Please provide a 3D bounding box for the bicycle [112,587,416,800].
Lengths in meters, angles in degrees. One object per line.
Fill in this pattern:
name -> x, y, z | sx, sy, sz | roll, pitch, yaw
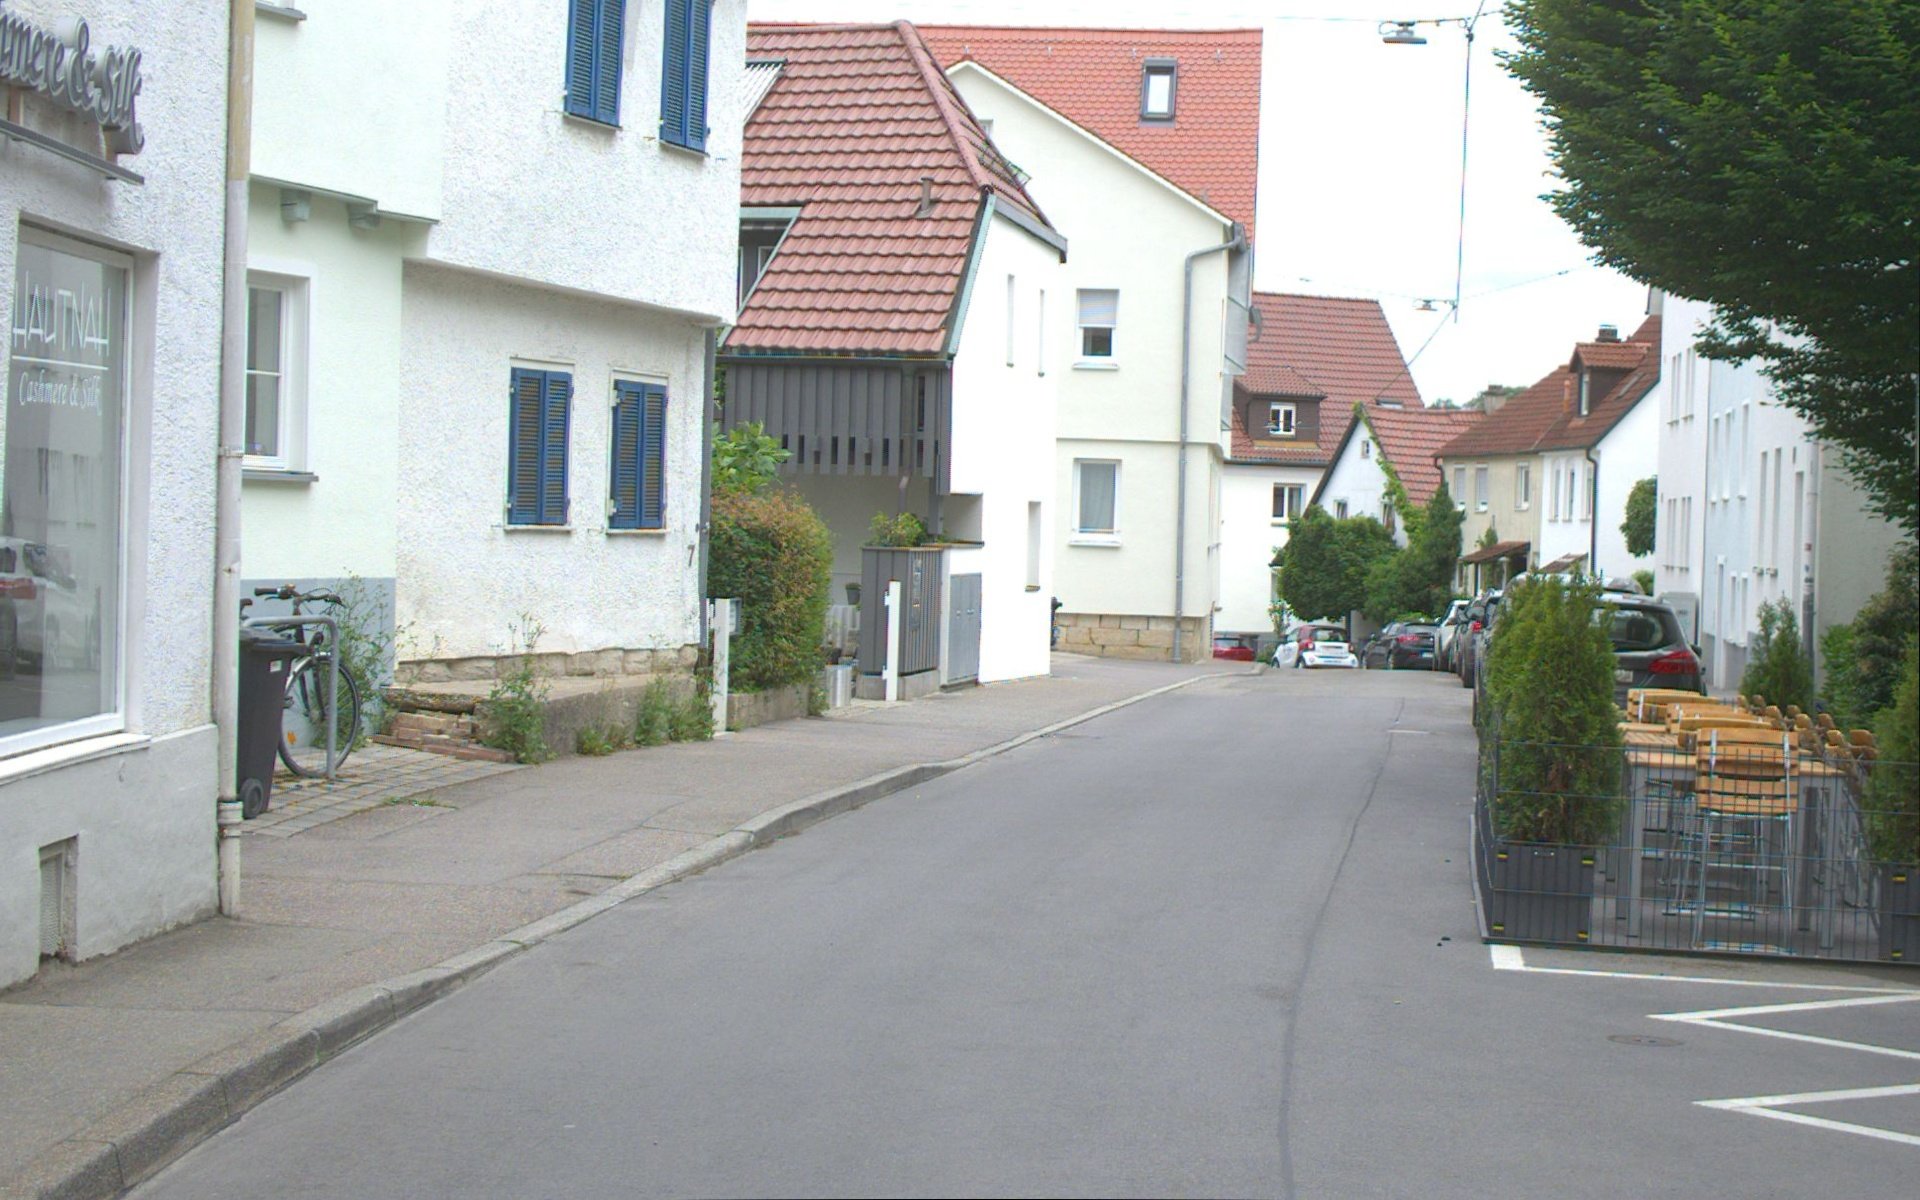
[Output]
bicycle -> -3.724, 0.472, 18.583 | 0.443, 1.035, 2.090 | 7, 3, 22

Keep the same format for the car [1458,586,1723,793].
car -> 5.240, 0.675, 28.981 | 1.949, 1.503, 4.818 | 3, 1, 9

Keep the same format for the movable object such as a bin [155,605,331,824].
movable object such as a bin -> -3.600, 0.563, 17.284 | 0.554, 0.996, 0.586 | 8, 4, 18

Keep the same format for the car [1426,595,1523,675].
car -> 11.781, 0.817, 78.901 | 1.873, 1.707, 4.147 | 2, -1, 5

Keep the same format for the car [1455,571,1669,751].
car -> 6.035, 0.578, 34.909 | 1.863, 1.627, 4.900 | 2, 0, 7

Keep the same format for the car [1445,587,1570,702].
car -> 8.578, 0.661, 53.793 | 1.754, 1.622, 4.533 | 3, 1, 9

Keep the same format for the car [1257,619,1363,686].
car -> 10.055, 1.490, 98.963 | 1.962, 1.707, 4.001 | 2, 1, -10

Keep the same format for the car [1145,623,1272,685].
car -> 7.561, 1.668, 104.872 | 1.993, 1.678, 4.000 | -3, -1, -27

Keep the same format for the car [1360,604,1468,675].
car -> 11.806, 1.052, 89.620 | 1.993, 1.707, 4.000 | 1, -2, -4
